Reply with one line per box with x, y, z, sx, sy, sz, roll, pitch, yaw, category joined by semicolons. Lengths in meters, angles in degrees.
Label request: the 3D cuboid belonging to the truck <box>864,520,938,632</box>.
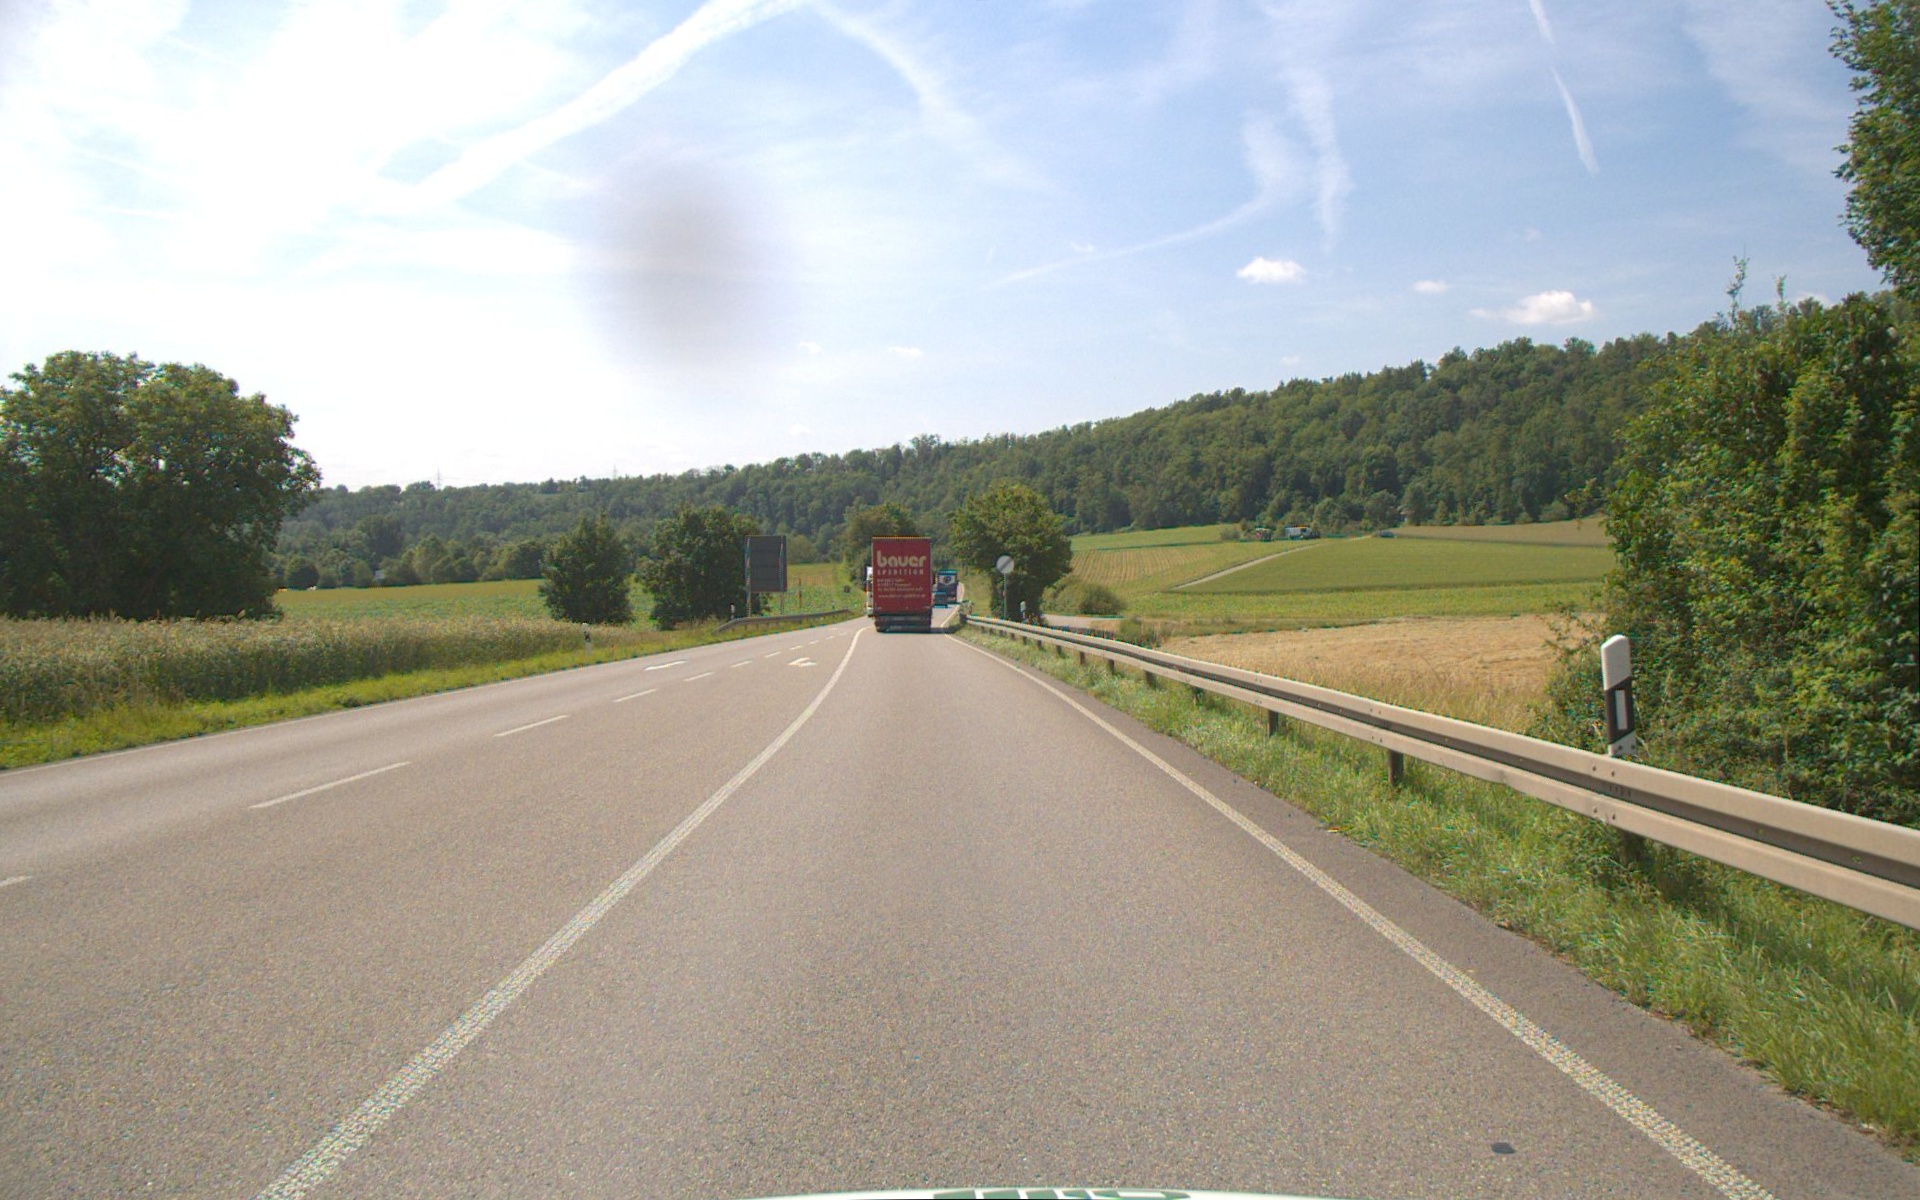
-2.734;-1.060;76.163;3.108;4.706;13.538;0;0;-2;truck

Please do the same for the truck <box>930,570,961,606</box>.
-1.925;-1.476;217.171;3.825;4.446;13.290;2;0;-1;truck

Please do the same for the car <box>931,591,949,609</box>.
-2.249;0.004;186.397;1.953;1.841;3.999;3;0;-1;car

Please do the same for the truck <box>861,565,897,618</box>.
-6.622;-0.651;135.622;2.478;4.192;6.021;-2;0;0;truck
